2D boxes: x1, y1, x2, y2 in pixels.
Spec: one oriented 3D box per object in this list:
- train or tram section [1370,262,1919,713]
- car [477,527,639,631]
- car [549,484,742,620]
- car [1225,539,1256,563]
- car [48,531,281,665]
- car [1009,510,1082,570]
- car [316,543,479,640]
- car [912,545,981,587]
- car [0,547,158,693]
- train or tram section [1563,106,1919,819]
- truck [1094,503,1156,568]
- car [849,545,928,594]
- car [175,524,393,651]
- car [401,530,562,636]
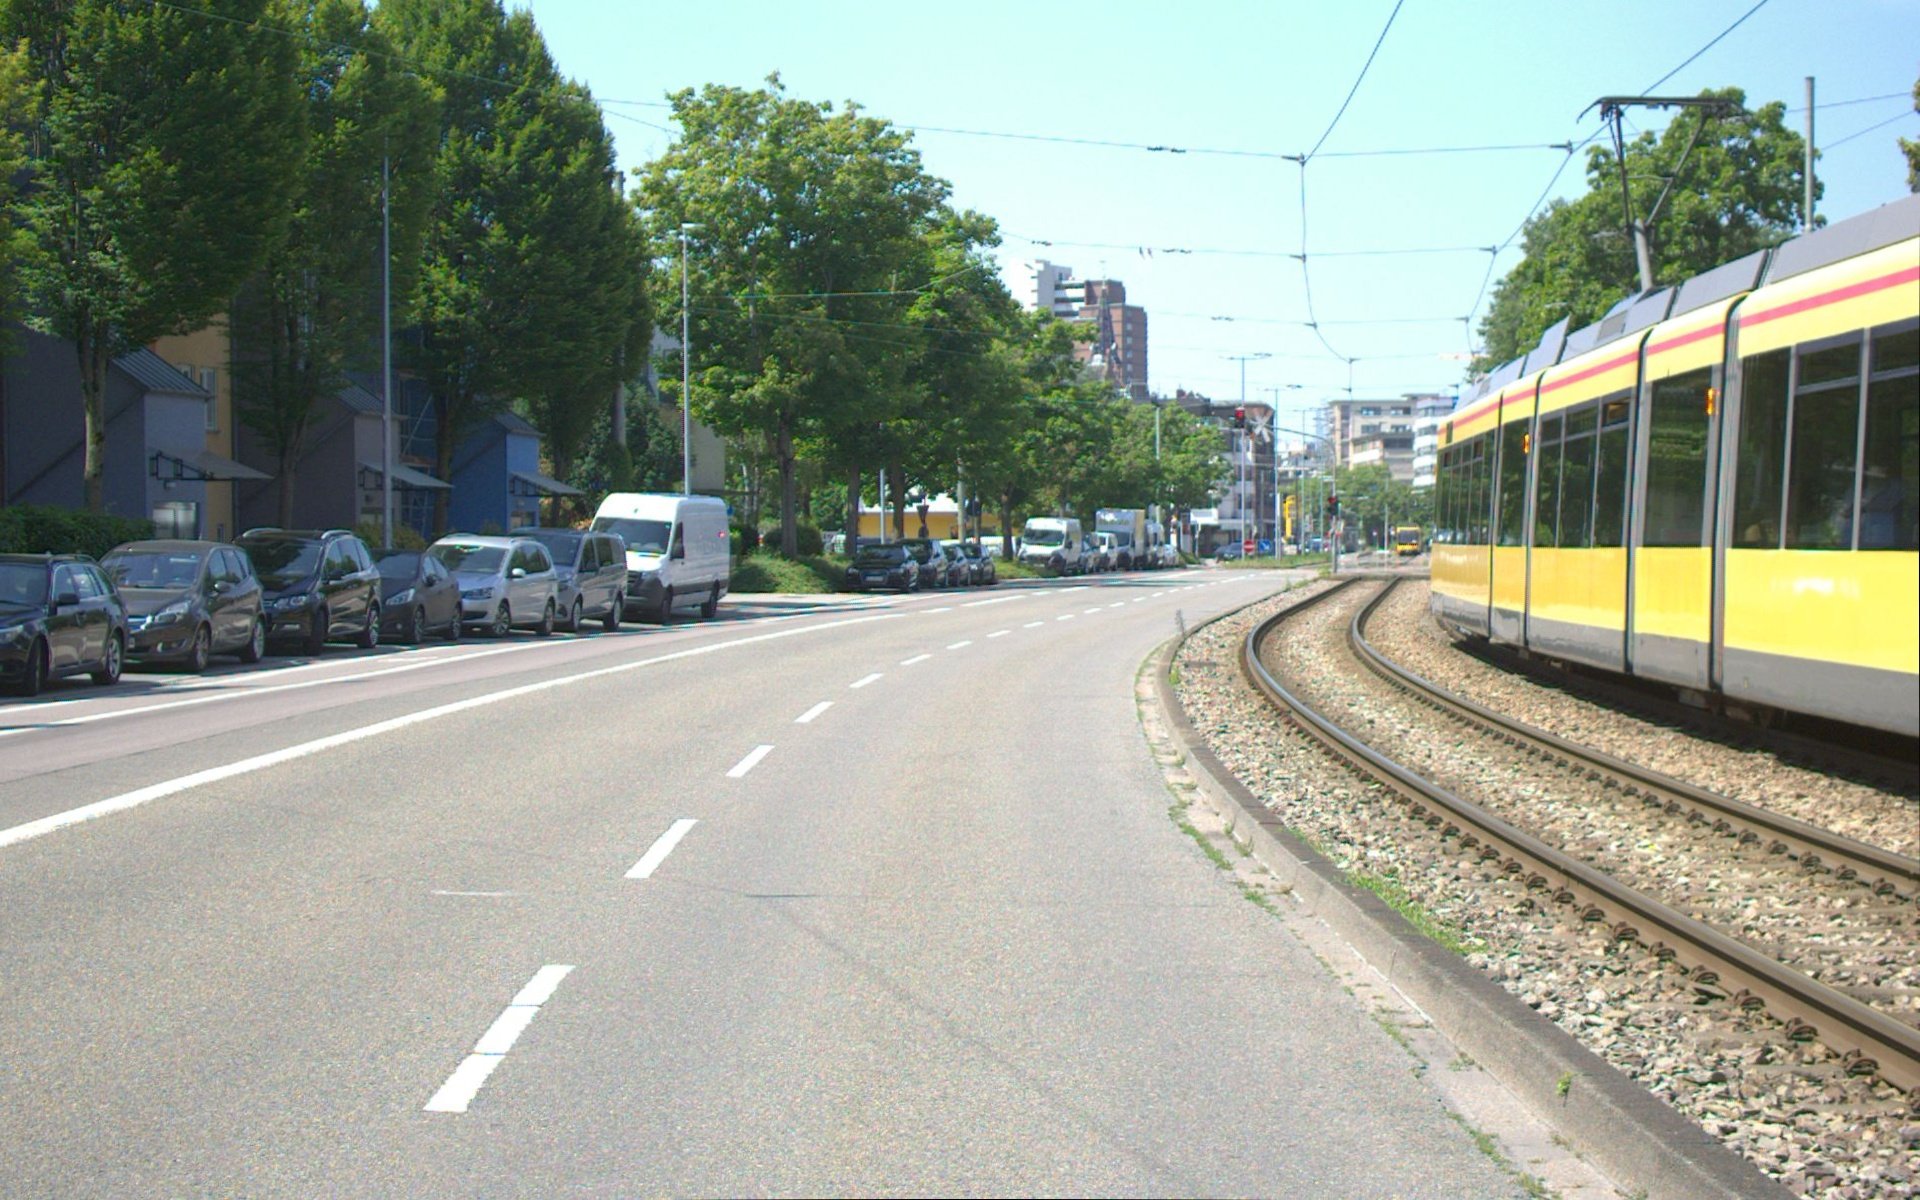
[{"bbox_3d":[6.900,-1.137,38.475,2.944,3.679,20.283,1,1,2],"label":"train or tram section"},{"bbox_3d":[-7.565,-0.437,65.260,1.807,1.889,5.361,0,1,7],"label":"car"},{"bbox_3d":[-6.664,-1.052,73.817,2.324,2.642,7.032,4,2,9],"label":"car"},{"bbox_3d":[17.348,-3.029,212.633,1.775,1.455,4.194,-1,1,7],"label":"car"},{"bbox_3d":[-10.098,-0.064,43.932,1.656,1.612,4.285,0,1,5],"label":"car"},{"bbox_3d":[3.787,-2.634,151.198,2.158,2.478,6.190,3,1,10],"label":"car"},{"bbox_3d":[-8.955,-0.159,54.985,1.598,1.466,4.087,0,1,5],"label":"car"},{"bbox_3d":[-0.439,-1.175,117.227,1.775,1.368,4.696,2,1,6],"label":"car"},{"bbox_3d":[-10.501,0.168,38.107,1.742,1.441,4.963,2,1,4],"label":"car"},{"bbox_3d":[6.427,-0.727,19.171,2.943,3.679,18.390,1,1,0],"label":"train or tram section"},{"bbox_3d":[8.623,-3.367,179.066,2.158,3.199,7.079,3,1,10],"label":"truck"},{"bbox_3d":[-2.135,-0.940,103.830,1.775,1.451,4.803,0,1,7],"label":"car"},{"bbox_3d":[-9.567,-0.228,49.057,1.751,1.710,4.887,0,1,5],"label":"car"},{"bbox_3d":[-8.254,-0.326,59.701,1.717,1.746,4.903,0,1,5],"label":"car"}]
